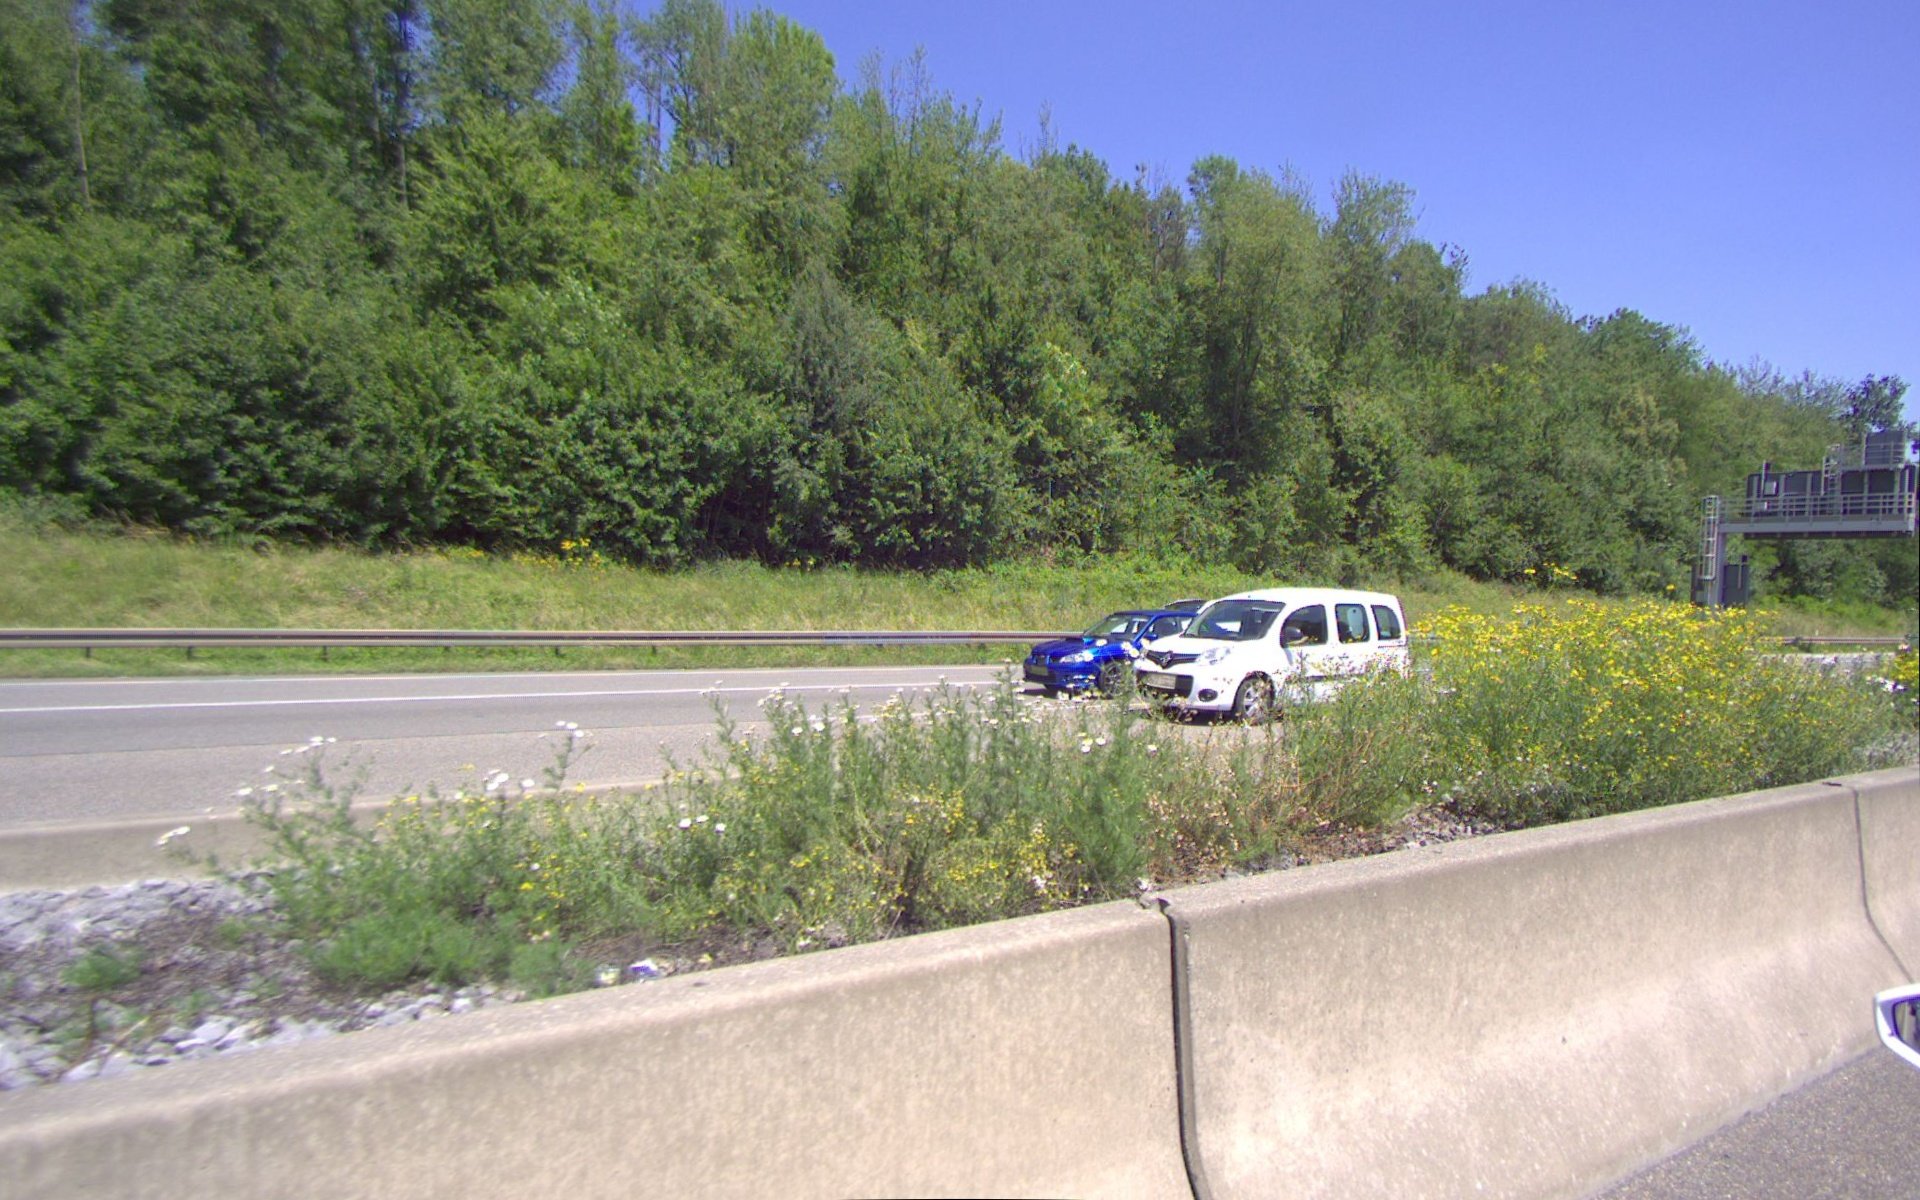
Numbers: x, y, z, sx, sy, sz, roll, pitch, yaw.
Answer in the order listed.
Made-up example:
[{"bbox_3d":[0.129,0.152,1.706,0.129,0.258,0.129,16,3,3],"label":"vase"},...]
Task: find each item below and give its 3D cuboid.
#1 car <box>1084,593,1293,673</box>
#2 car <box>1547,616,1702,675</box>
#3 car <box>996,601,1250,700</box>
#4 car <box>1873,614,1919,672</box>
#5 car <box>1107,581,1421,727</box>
[{"bbox_3d":[5.409,0.740,23.602,4.711,1.714,1.984,1,0,-30],"label":"car"},{"bbox_3d":[18.194,1.223,27.479,3.960,1.463,1.984,1,0,-30],"label":"car"},{"bbox_3d":[2.809,0.812,17.243,3.953,1.511,1.984,1,0,-30],"label":"car"},{"bbox_3d":[28.588,1.250,29.139,4.017,1.594,1.984,1,0,-30],"label":"car"},{"bbox_3d":[4.324,0.693,14.160,4.227,1.778,1.875,1,0,-30],"label":"car"}]
